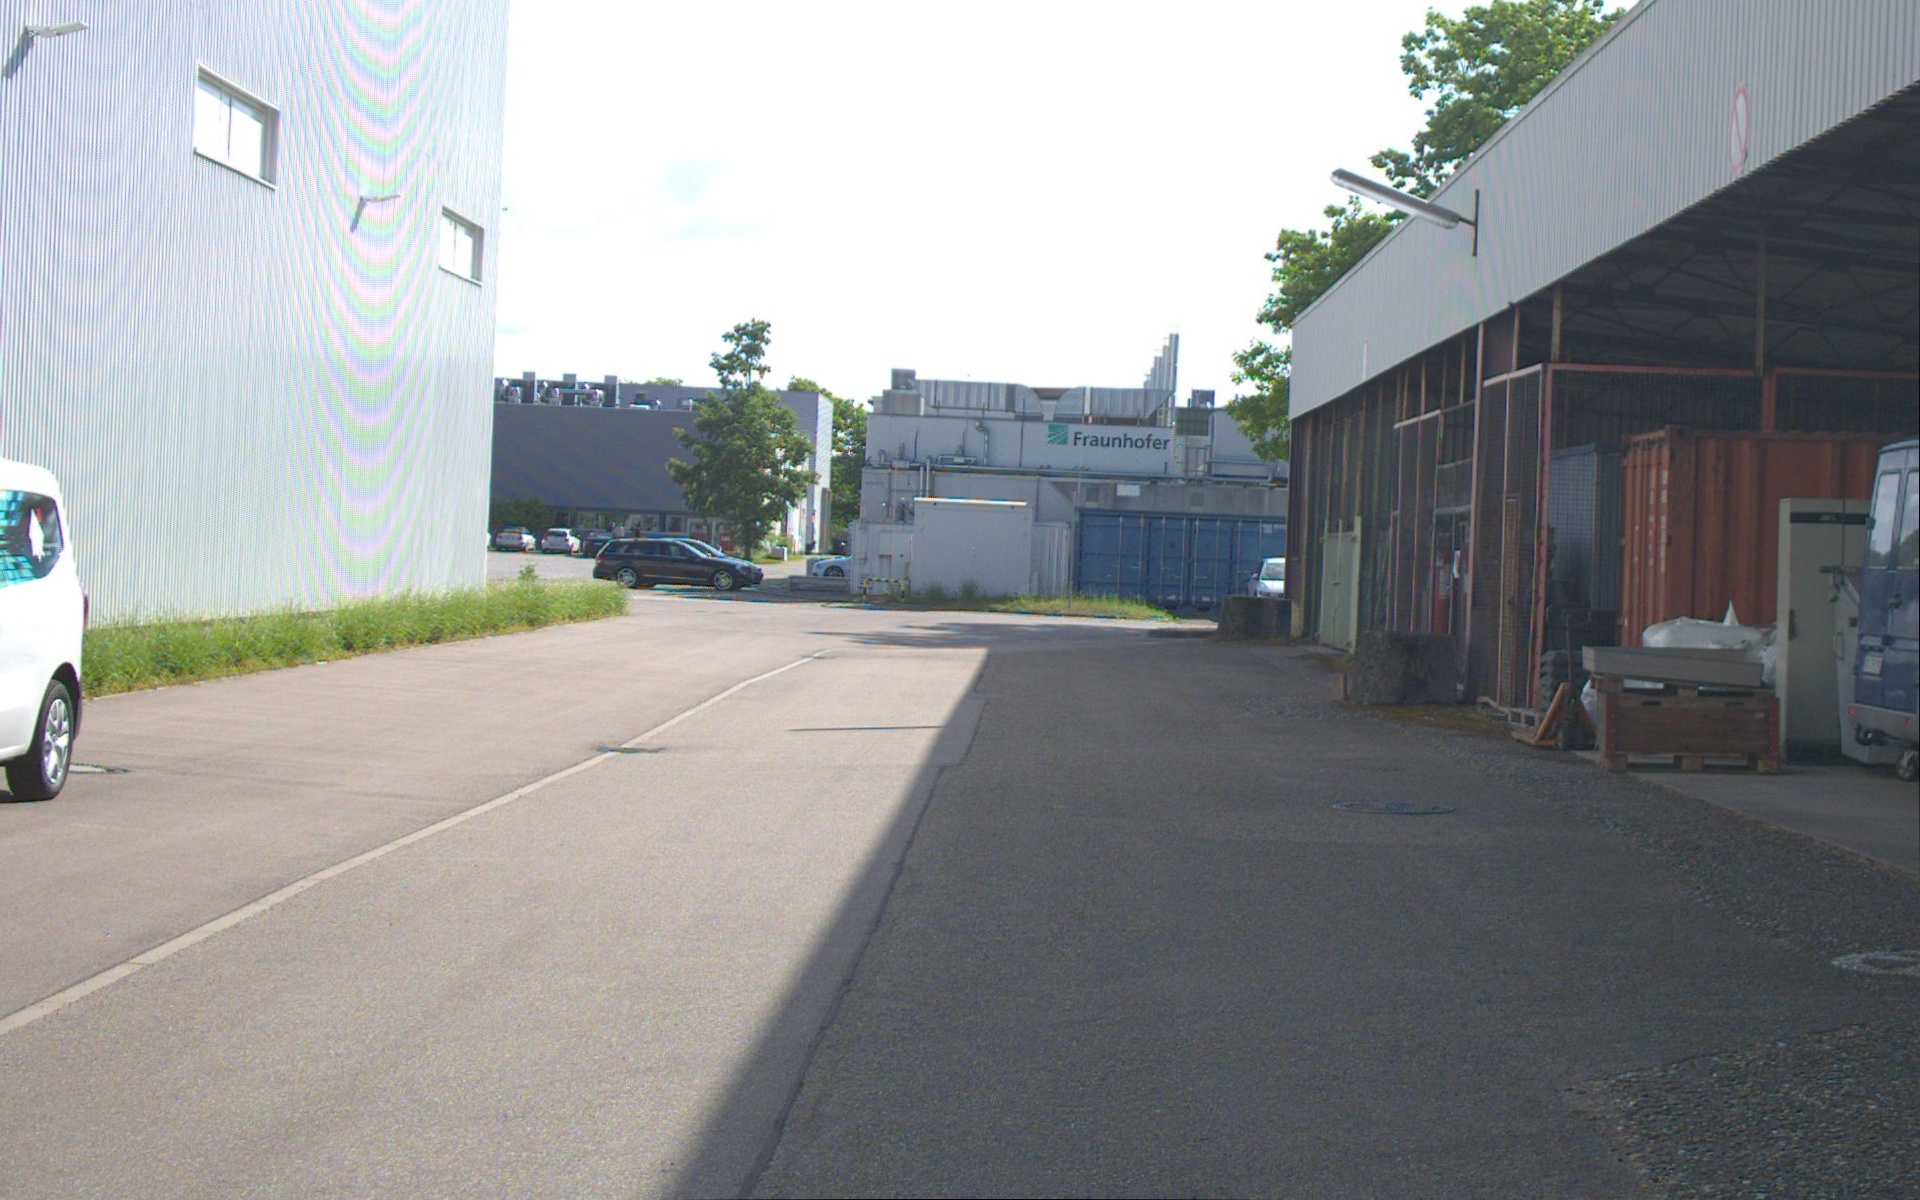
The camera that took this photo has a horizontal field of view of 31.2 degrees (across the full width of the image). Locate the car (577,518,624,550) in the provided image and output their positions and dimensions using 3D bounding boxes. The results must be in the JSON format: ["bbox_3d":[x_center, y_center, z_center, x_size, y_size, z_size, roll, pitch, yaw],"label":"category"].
[{"bbox_3d":[-20.347,-3.740,194.658,2.193,1.730,4.000,1,1,1],"label":"car"}]

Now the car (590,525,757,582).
[{"bbox_3d":[-8.214,-1.344,98.910,4.526,1.503,1.909,2,1,3],"label":"car"}]

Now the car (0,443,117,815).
[{"bbox_3d":[-5.651,0.086,16.645,1.890,1.839,4.358,4,1,1],"label":"car"}]

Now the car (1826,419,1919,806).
[{"bbox_3d":[8.191,0.144,21.520,4.979,2.317,2.000,2,1,2],"label":"car"}]

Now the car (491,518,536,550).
[{"bbox_3d":[-25.461,-3.756,196.159,1.993,1.730,4.000,1,1,1],"label":"car"}]

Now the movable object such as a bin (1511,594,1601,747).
[{"bbox_3d":[4.724,0.547,27.298,0.582,1.160,1.238,1,1,5],"label":"movable object such as a bin"}]

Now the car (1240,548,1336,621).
[{"bbox_3d":[8.152,-0.412,85.733,1.993,1.580,4.173,2,2,1],"label":"car"}]

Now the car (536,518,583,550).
[{"bbox_3d":[-22.868,-3.758,196.436,2.193,1.730,4.000,1,1,1],"label":"car"}]

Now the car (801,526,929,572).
[{"bbox_3d":[-3.488,-1.885,126.390,4.526,1.503,1.909,2,1,2],"label":"car"}]
